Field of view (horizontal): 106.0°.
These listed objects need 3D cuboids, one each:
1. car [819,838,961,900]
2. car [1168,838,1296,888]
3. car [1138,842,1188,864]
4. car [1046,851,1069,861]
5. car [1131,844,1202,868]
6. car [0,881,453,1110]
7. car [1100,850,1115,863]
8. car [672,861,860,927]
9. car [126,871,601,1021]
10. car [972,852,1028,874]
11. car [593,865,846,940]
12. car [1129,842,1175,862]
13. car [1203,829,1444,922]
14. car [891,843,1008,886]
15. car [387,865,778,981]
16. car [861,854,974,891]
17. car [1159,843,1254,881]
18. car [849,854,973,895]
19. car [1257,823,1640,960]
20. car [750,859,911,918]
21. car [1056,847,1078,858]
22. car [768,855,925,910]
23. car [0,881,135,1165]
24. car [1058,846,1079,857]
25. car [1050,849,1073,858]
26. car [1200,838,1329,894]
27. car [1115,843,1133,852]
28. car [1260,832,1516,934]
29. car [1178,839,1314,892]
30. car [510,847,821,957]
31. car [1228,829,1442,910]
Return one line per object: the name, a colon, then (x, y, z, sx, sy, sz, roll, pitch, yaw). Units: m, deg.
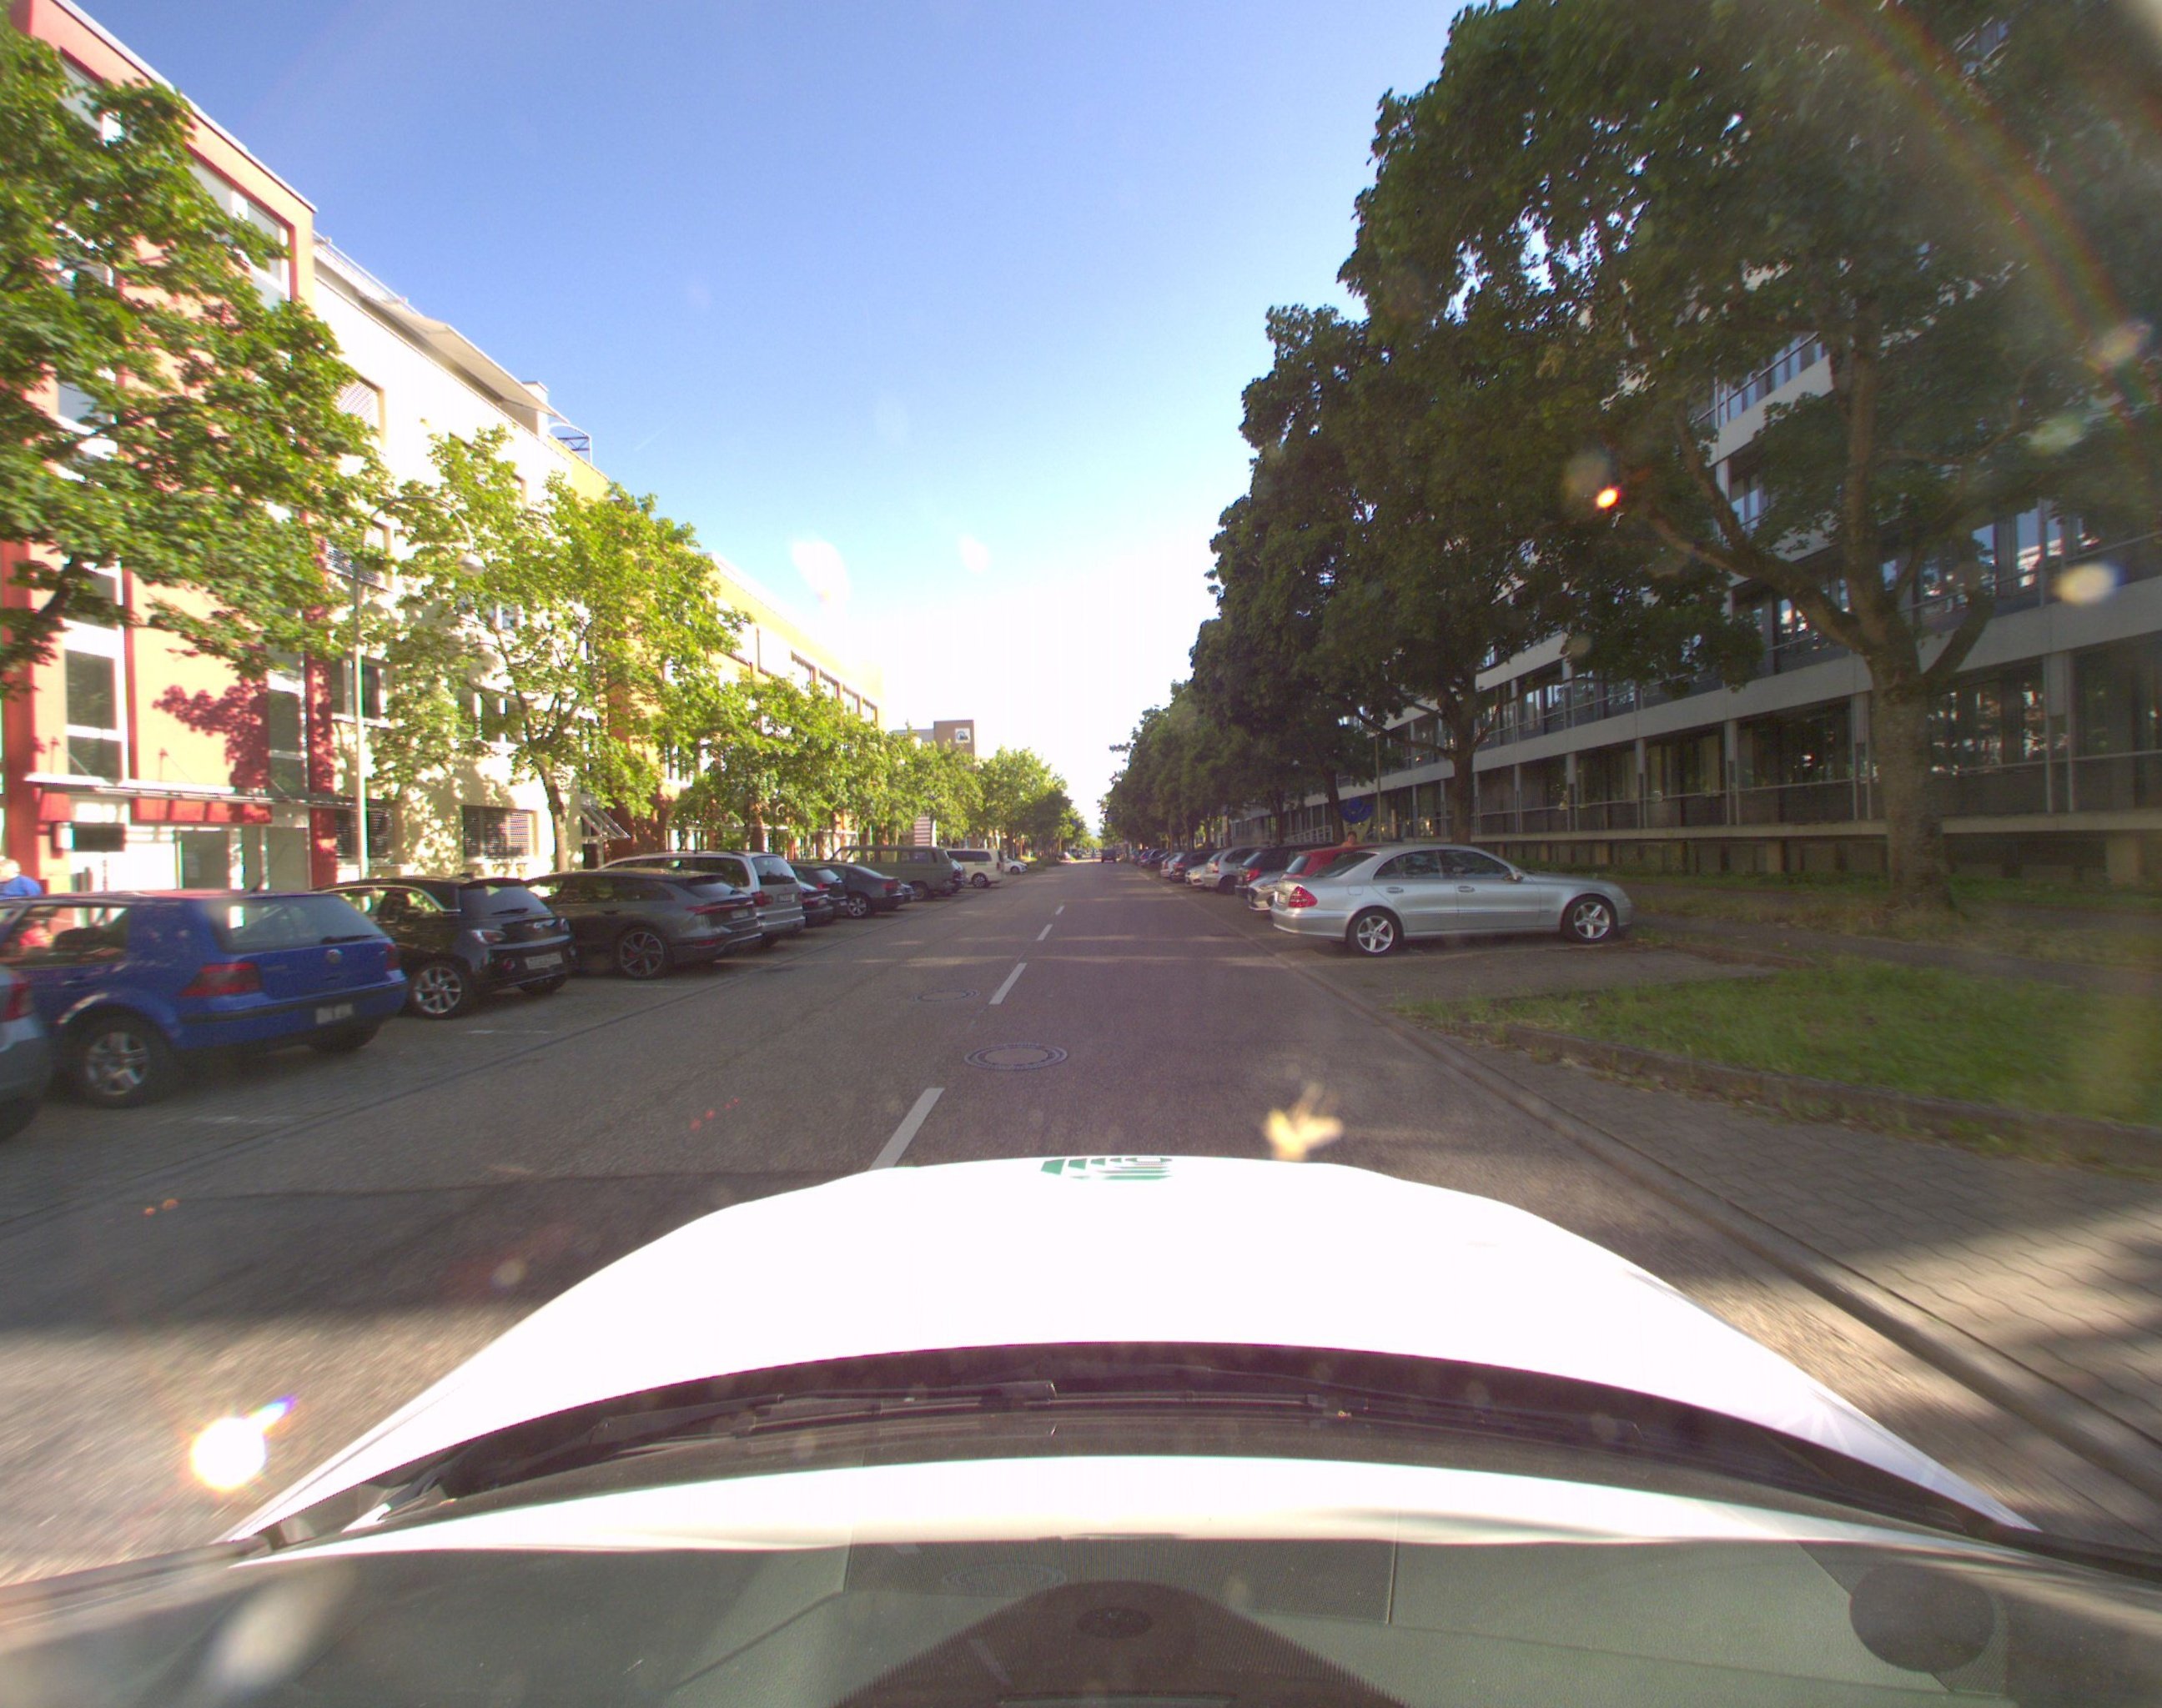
car: (-6.700, 0.511, 28.890, 4.469, 2.090, 2.085, -1, 0, 3)
car: (5.787, 0.325, 31.545, 4.575, 1.493, 1.763, -5, 0, 1)
car: (6.720, -0.074, 67.152, 3.933, 1.514, 1.814, -4, 0, 2)
car: (-3.972, 0.334, 136.103, 3.839, 1.473, 1.811, -1, 0, -2)
car: (6.139, 0.130, 58.704, 4.810, 1.420, 2.031, -4, 0, -1)
car: (-7.459, 0.977, 6.308, 3.713, 1.427, 1.841, -1, 0, 0)
car: (3.565, 0.310, 108.706, 1.986, 1.640, 4.001, -1, 0, 1)
car: (-7.308, 0.905, 19.166, 3.713, 1.427, 1.725, -1, 0, 0)
car: (-7.782, 0.951, 9.123, 3.713, 1.427, 1.773, -1, 0, 0)
car: (-6.066, 0.669, 61.303, 3.974, 1.486, 1.807, -1, 0, 0)
car: (-7.198, 0.943, 16.532, 4.306, 1.358, 1.757, -1, 0, 0)
car: (7.084, -0.162, 81.401, 4.339, 1.704, 1.811, -4, 0, -2)
car: (4.913, 0.426, 17.096, 4.493, 1.542, 1.925, -4, 0, 5)
car: (-6.205, 0.482, 38.860, 5.239, 1.967, 1.943, -1, 0, 1)
car: (-6.846, 0.913, 11.542, 4.389, 1.427, 1.772, -1, 0, -1)
car: (-6.829, 0.761, 34.304, 4.302, 1.477, 1.945, -1, 0, 3)
car: (5.609, 0.337, 36.763, 3.958, 1.420, 1.710, -4, 0, -1)
car: (-6.525, 0.781, 31.573, 4.302, 1.477, 1.945, -1, 0, 3)
car: (4.973, 0.484, 11.507, 4.560, 1.475, 1.748, -4, 0, 2)
car: (-6.481, 0.872, 21.404, 3.719, 1.427, 1.722, -1, 0, -5)
car: (-2.820, -0.394, 163.113, 3.967, 2.013, 2.003, -3, 0, 5)
car: (-6.882, 0.823, 24.177, 4.117, 1.528, 1.726, -1, 0, 1)
car: (-7.709, 0.949, 4.085, 3.713, 1.508, 1.860, -1, 0, 0)
car: (-2.554, -0.544, 166.466, 3.967, 2.013, 2.003, -3, 0, 5)
car: (-3.452, -0.040, 141.845, 3.842, 1.473, 1.810, -1, 0, -5)
car: (5.895, 0.368, 26.439, 3.733, 1.493, 1.616, -4, 0, -2)
car: (9.842, -1.504, 185.257, 3.975, 2.013, 2.000, -3, 0, -1)
car: (5.277, 0.475, 14.472, 3.819, 1.447, 1.925, -4, 0, 5)
car: (5.752, 0.380, 28.679, 4.276, 1.493, 2.002, -4, 0, -3)
car: (-6.973, 0.756, 14.076, 4.310, 1.717, 1.961, -1, 0, -2)
car: (5.929, 0.354, 19.468, 4.495, 1.542, 1.924, -4, 0, 4)
